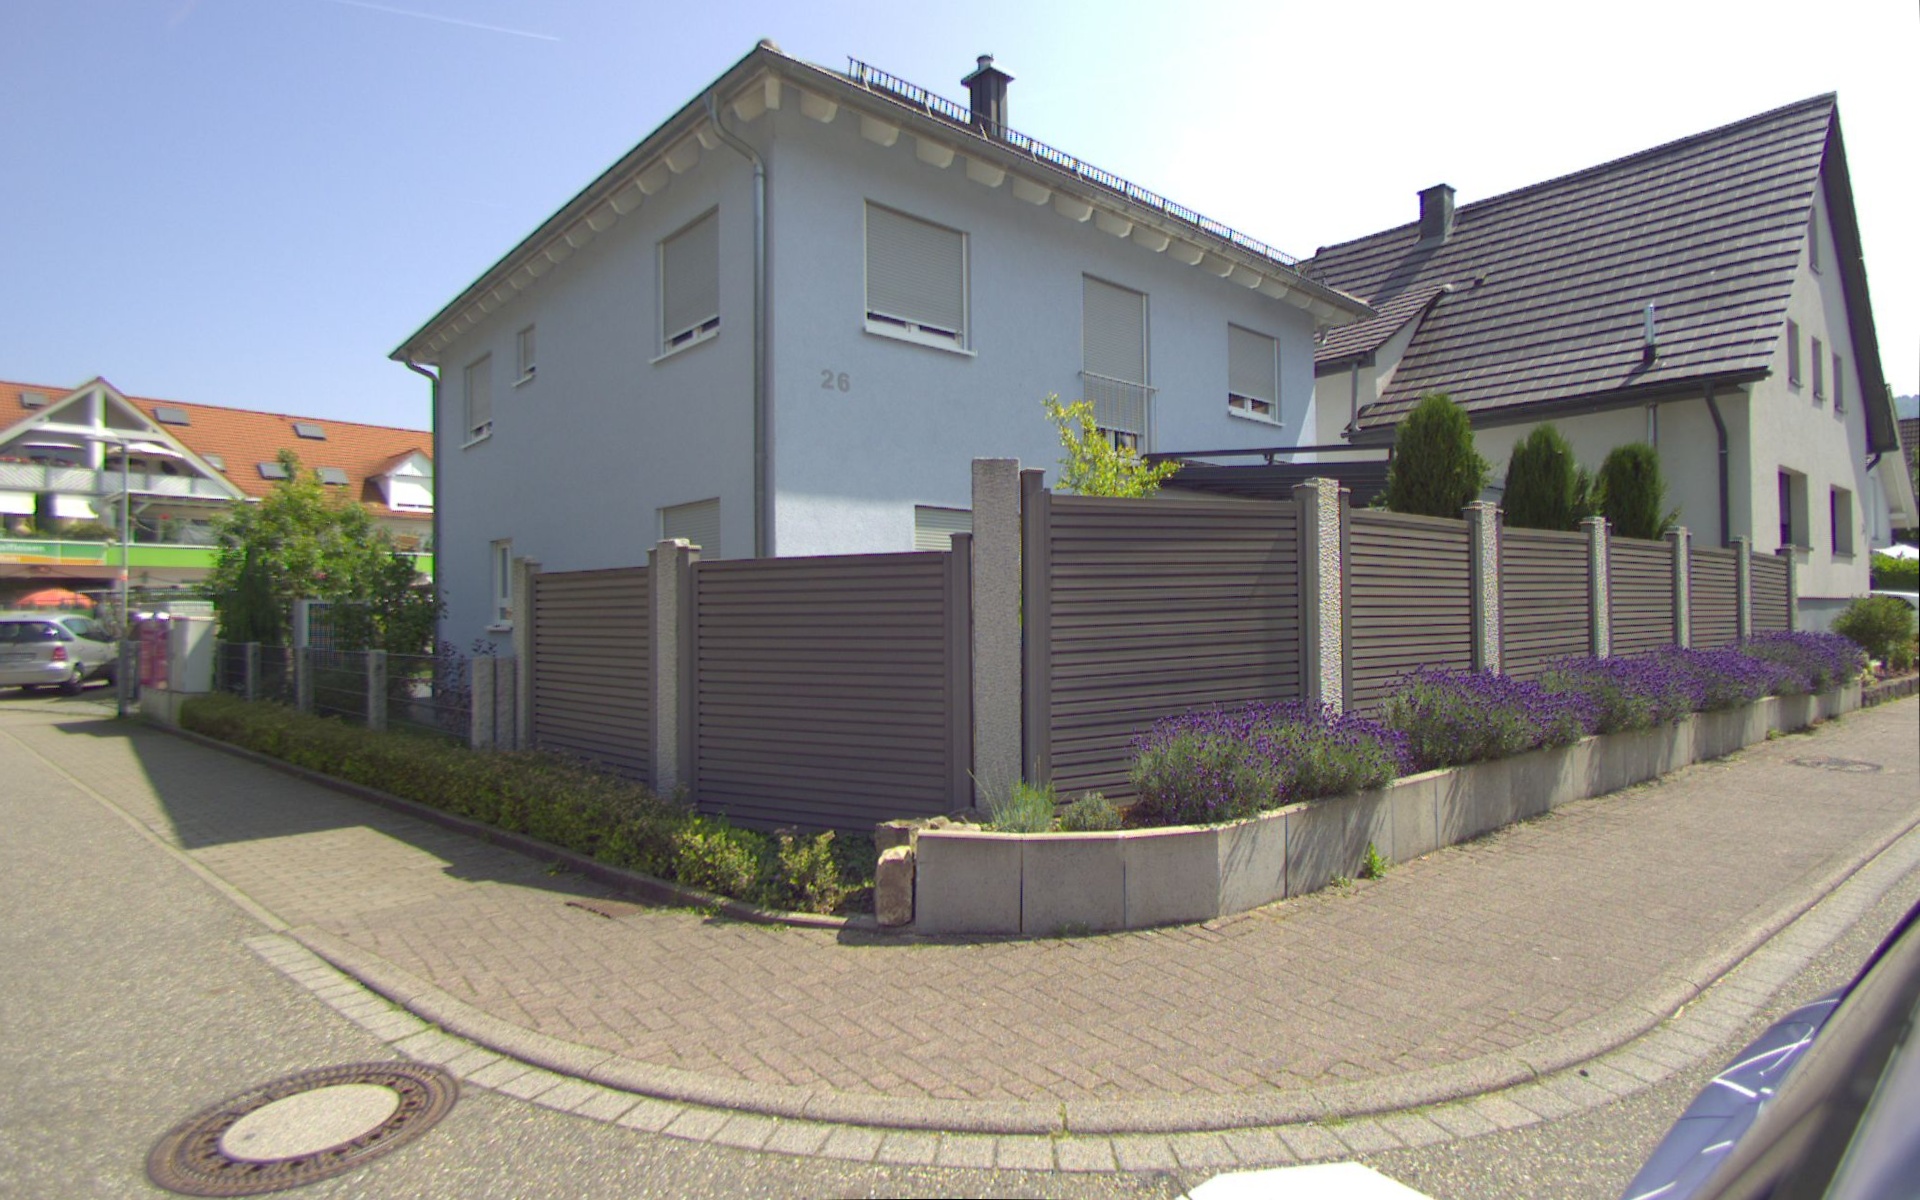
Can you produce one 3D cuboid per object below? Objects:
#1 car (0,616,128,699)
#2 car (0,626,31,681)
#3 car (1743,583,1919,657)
[{"bbox_3d":[-18.837,1.111,20.912,1.669,1.521,4.102,0,-1,-27],"label":"car"},{"bbox_3d":[-24.526,1.309,23.779,1.672,1.323,3.997,0,-1,2],"label":"car"},{"bbox_3d":[19.357,0.404,21.819,1.735,1.493,3.663,1,0,-41],"label":"car"}]
